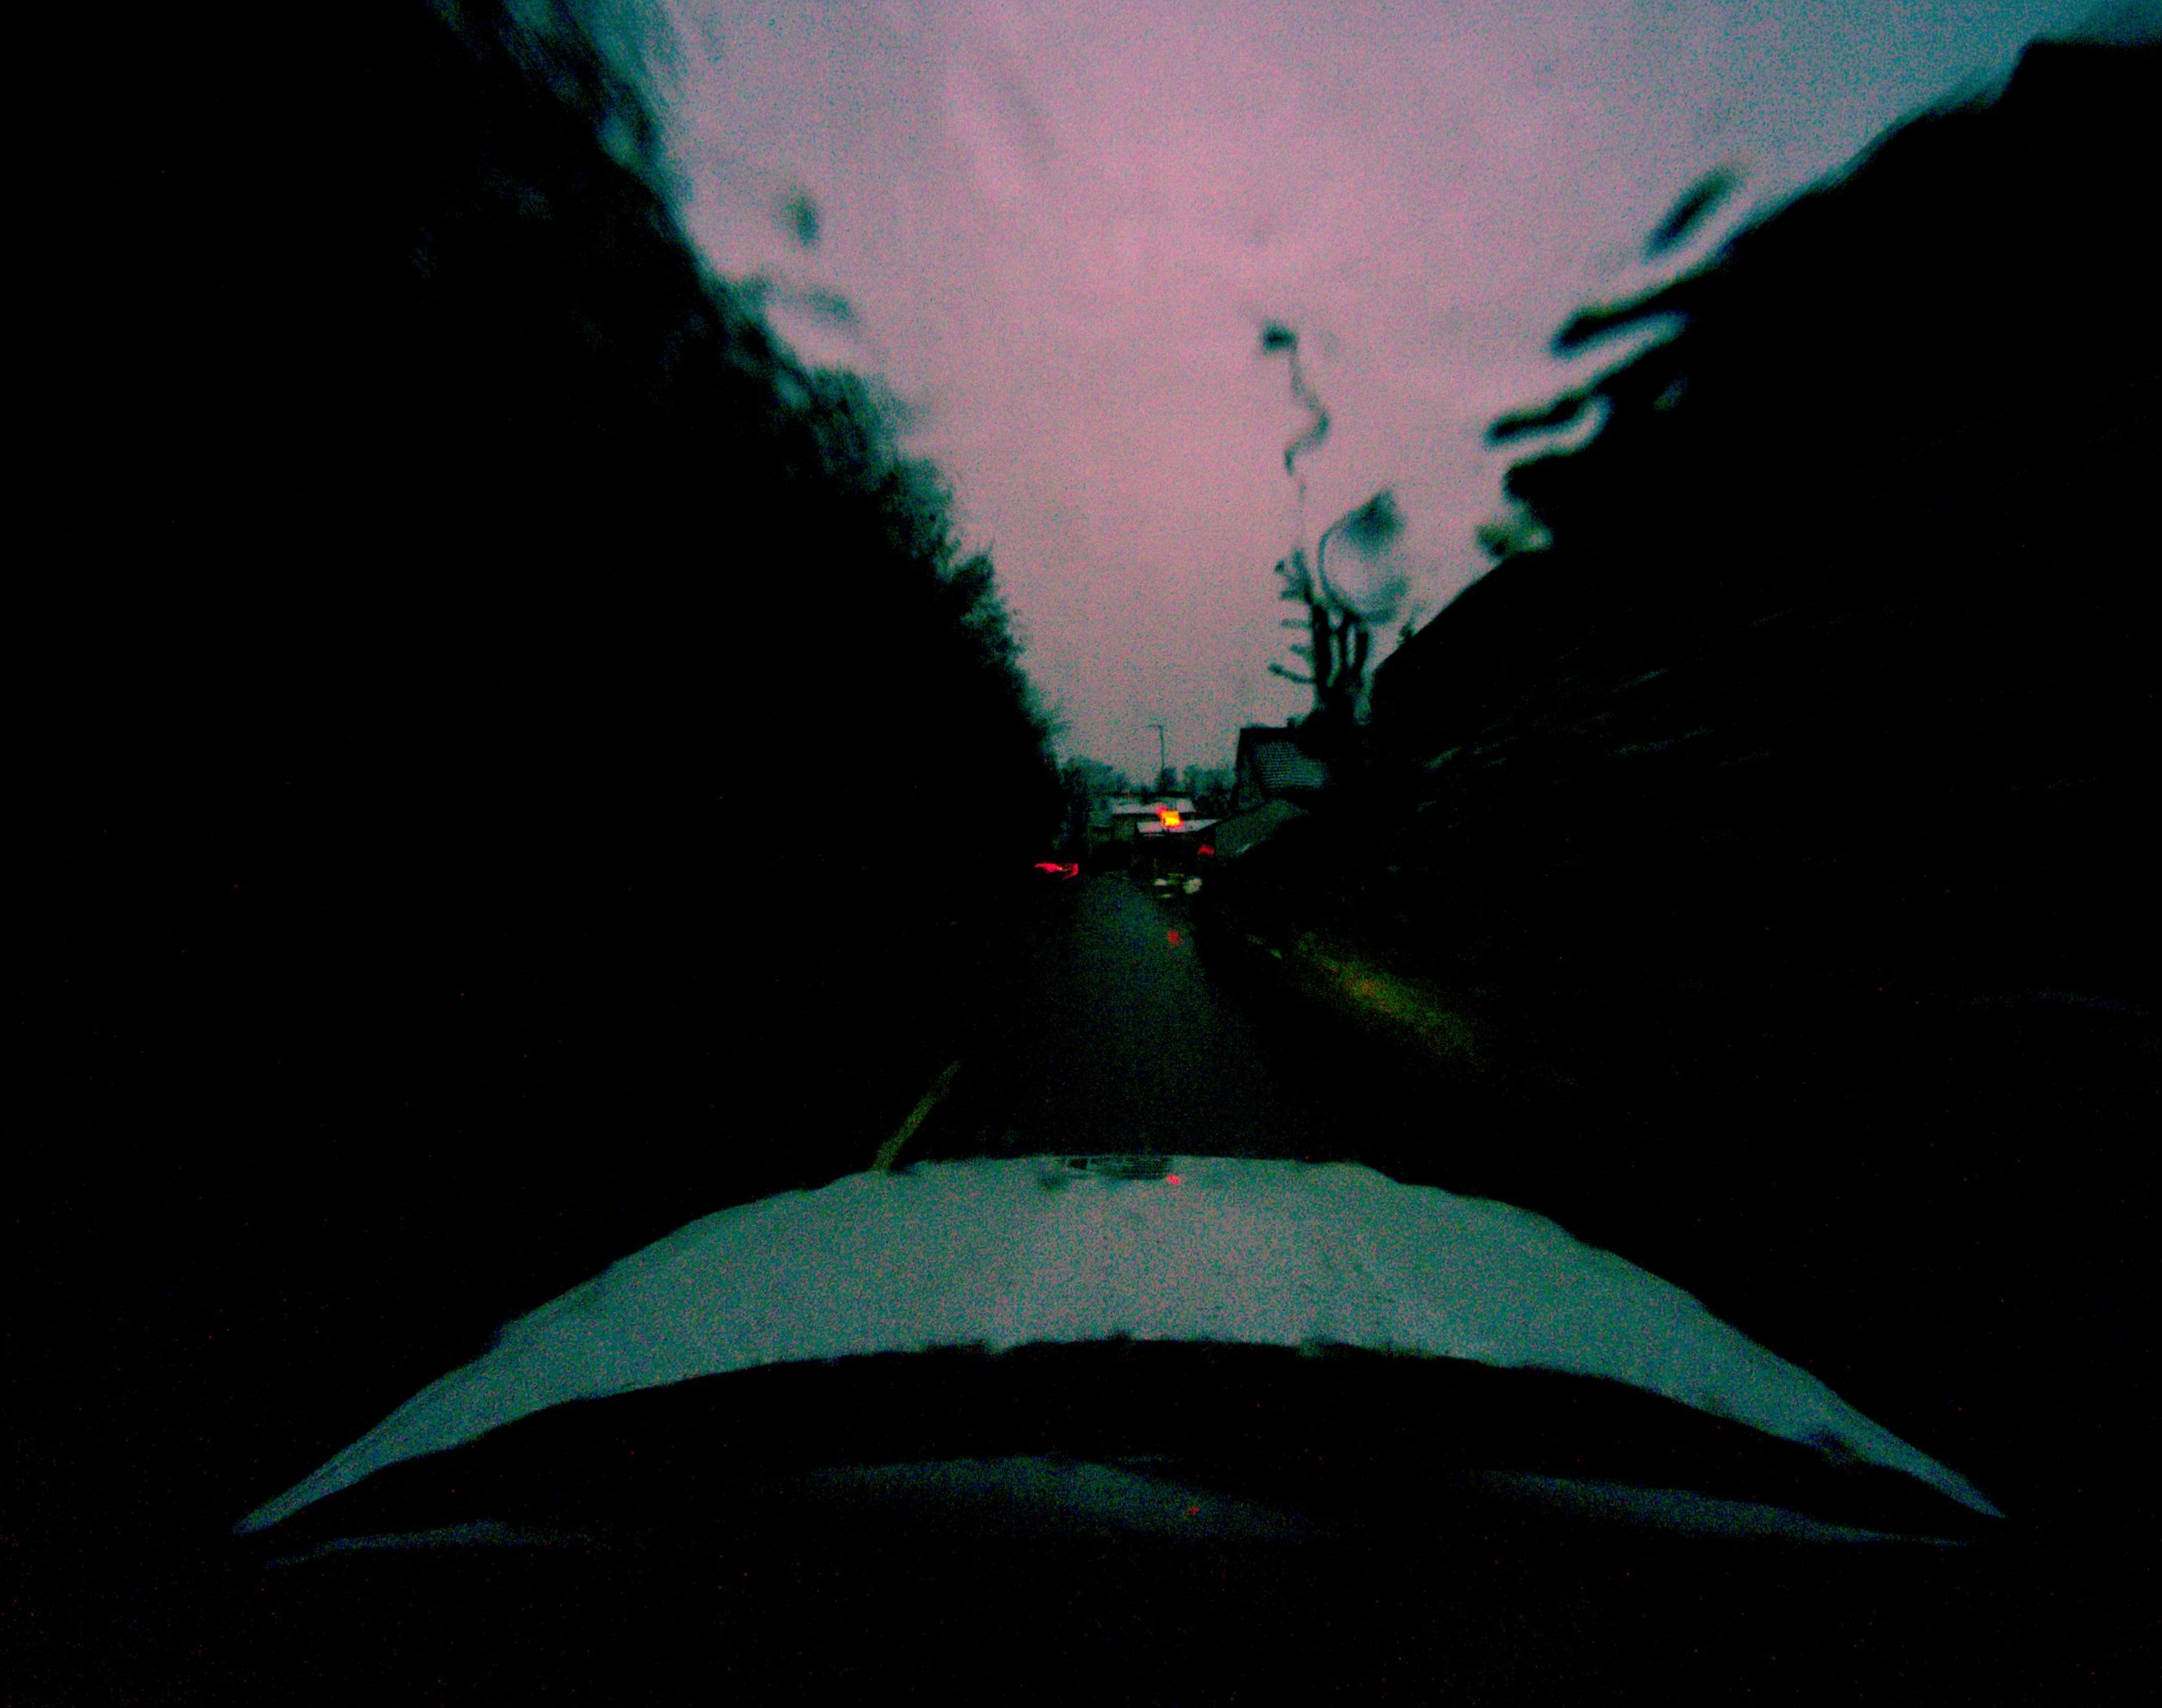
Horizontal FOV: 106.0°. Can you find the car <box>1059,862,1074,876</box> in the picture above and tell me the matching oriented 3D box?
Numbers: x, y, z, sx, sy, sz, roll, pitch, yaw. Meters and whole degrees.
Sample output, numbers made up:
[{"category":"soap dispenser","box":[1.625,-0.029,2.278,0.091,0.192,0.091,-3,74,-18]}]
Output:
[{"category":"car","box":[-1.879,1.945,105.489,1.798,1.739,4.001,0,-2,2]}]

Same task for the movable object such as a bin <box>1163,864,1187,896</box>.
[{"category":"movable object such as a bin","box":[3.184,0.881,27.480,0.681,1.004,0.858,-4,-3,9]}]

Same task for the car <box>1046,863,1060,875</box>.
[{"category":"car","box":[-4.092,2.180,118.333,1.798,1.618,4.001,0,-2,2]}]

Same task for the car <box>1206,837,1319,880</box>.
[{"category":"car","box":[6.899,0.207,31.251,3.968,1.266,1.698,-5,-3,5]}]
